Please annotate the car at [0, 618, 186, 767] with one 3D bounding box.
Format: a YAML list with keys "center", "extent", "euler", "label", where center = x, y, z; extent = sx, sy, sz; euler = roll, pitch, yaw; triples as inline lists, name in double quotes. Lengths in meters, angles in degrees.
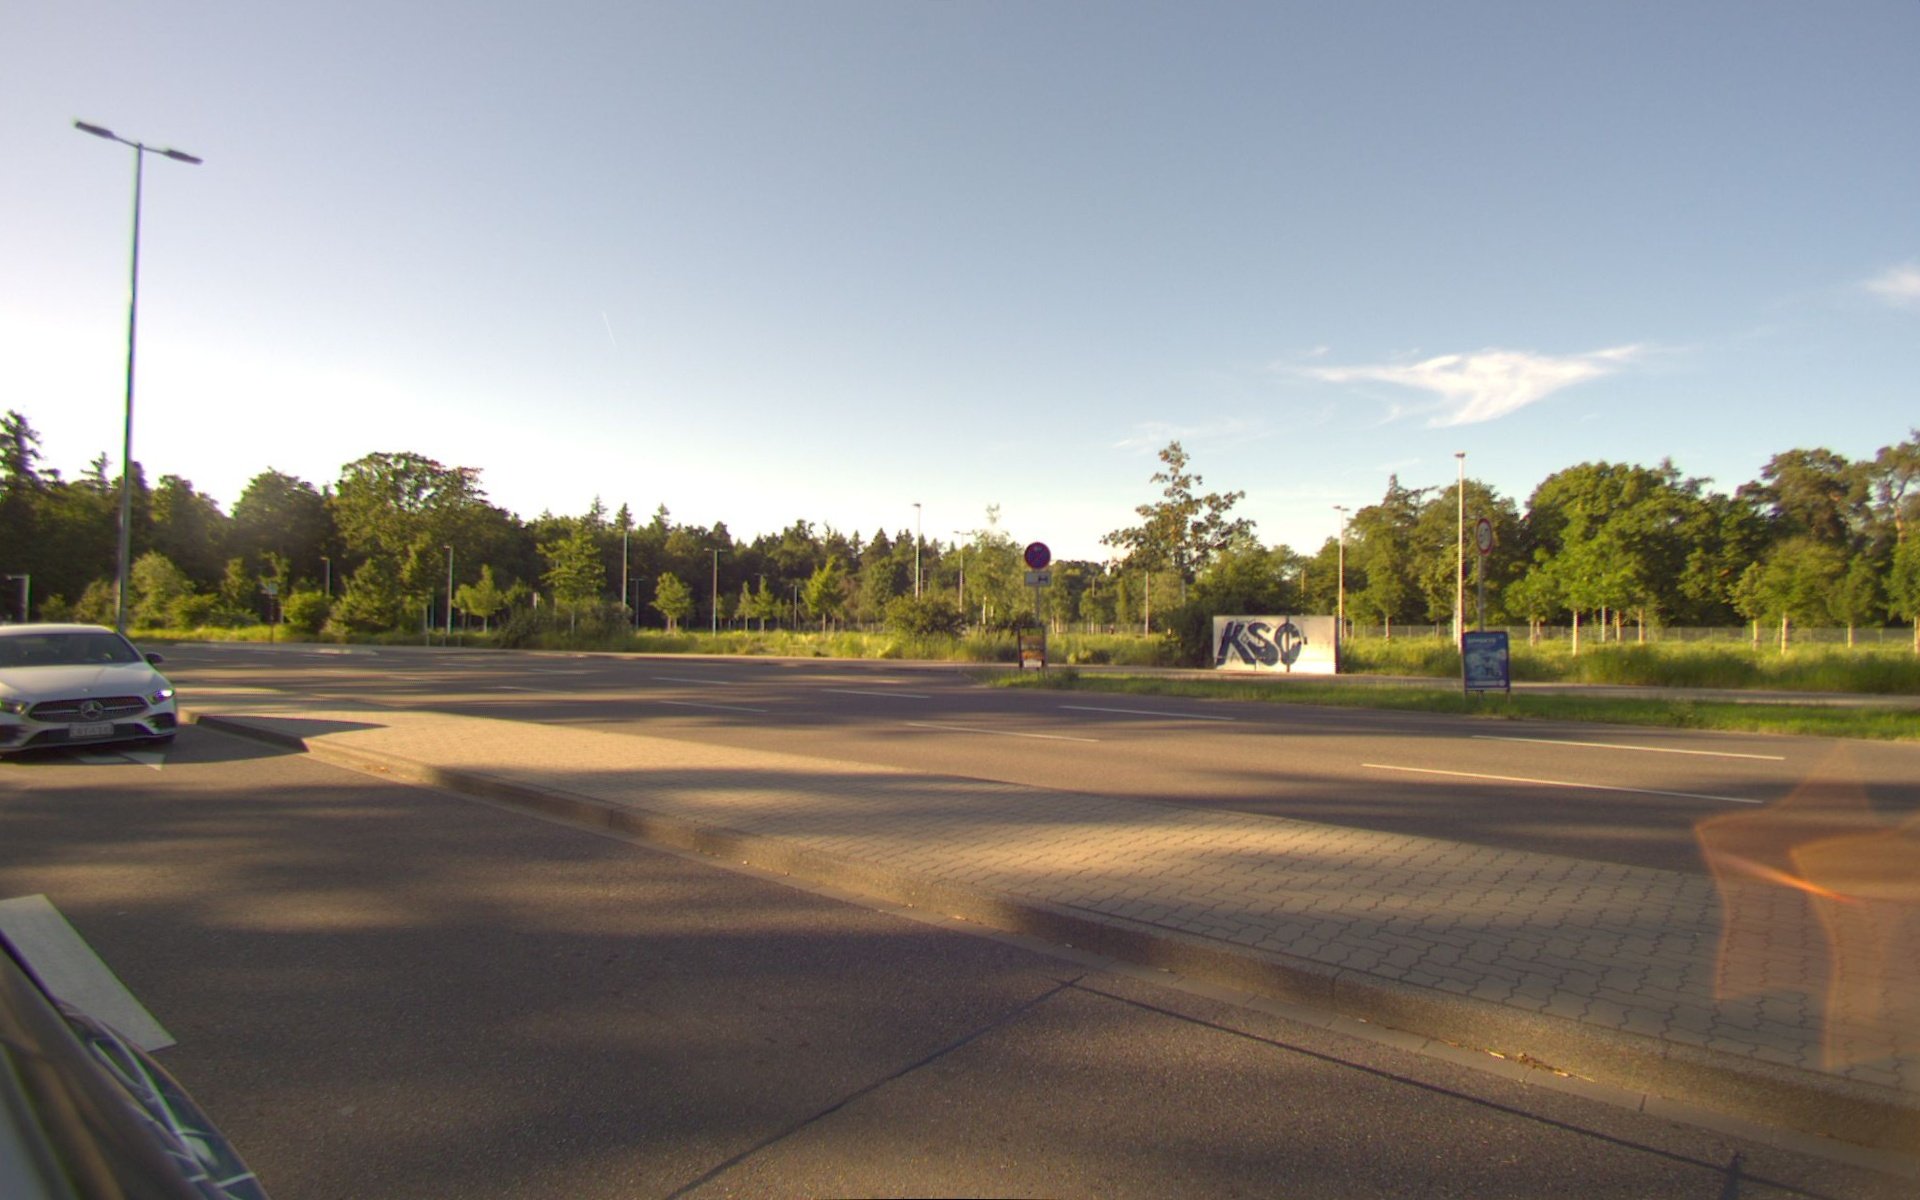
- center: [-10.809, 0.993, 11.950]
  extent: [4.274, 1.455, 1.767]
  euler: [-2, -1, 40]
  label: "car"
